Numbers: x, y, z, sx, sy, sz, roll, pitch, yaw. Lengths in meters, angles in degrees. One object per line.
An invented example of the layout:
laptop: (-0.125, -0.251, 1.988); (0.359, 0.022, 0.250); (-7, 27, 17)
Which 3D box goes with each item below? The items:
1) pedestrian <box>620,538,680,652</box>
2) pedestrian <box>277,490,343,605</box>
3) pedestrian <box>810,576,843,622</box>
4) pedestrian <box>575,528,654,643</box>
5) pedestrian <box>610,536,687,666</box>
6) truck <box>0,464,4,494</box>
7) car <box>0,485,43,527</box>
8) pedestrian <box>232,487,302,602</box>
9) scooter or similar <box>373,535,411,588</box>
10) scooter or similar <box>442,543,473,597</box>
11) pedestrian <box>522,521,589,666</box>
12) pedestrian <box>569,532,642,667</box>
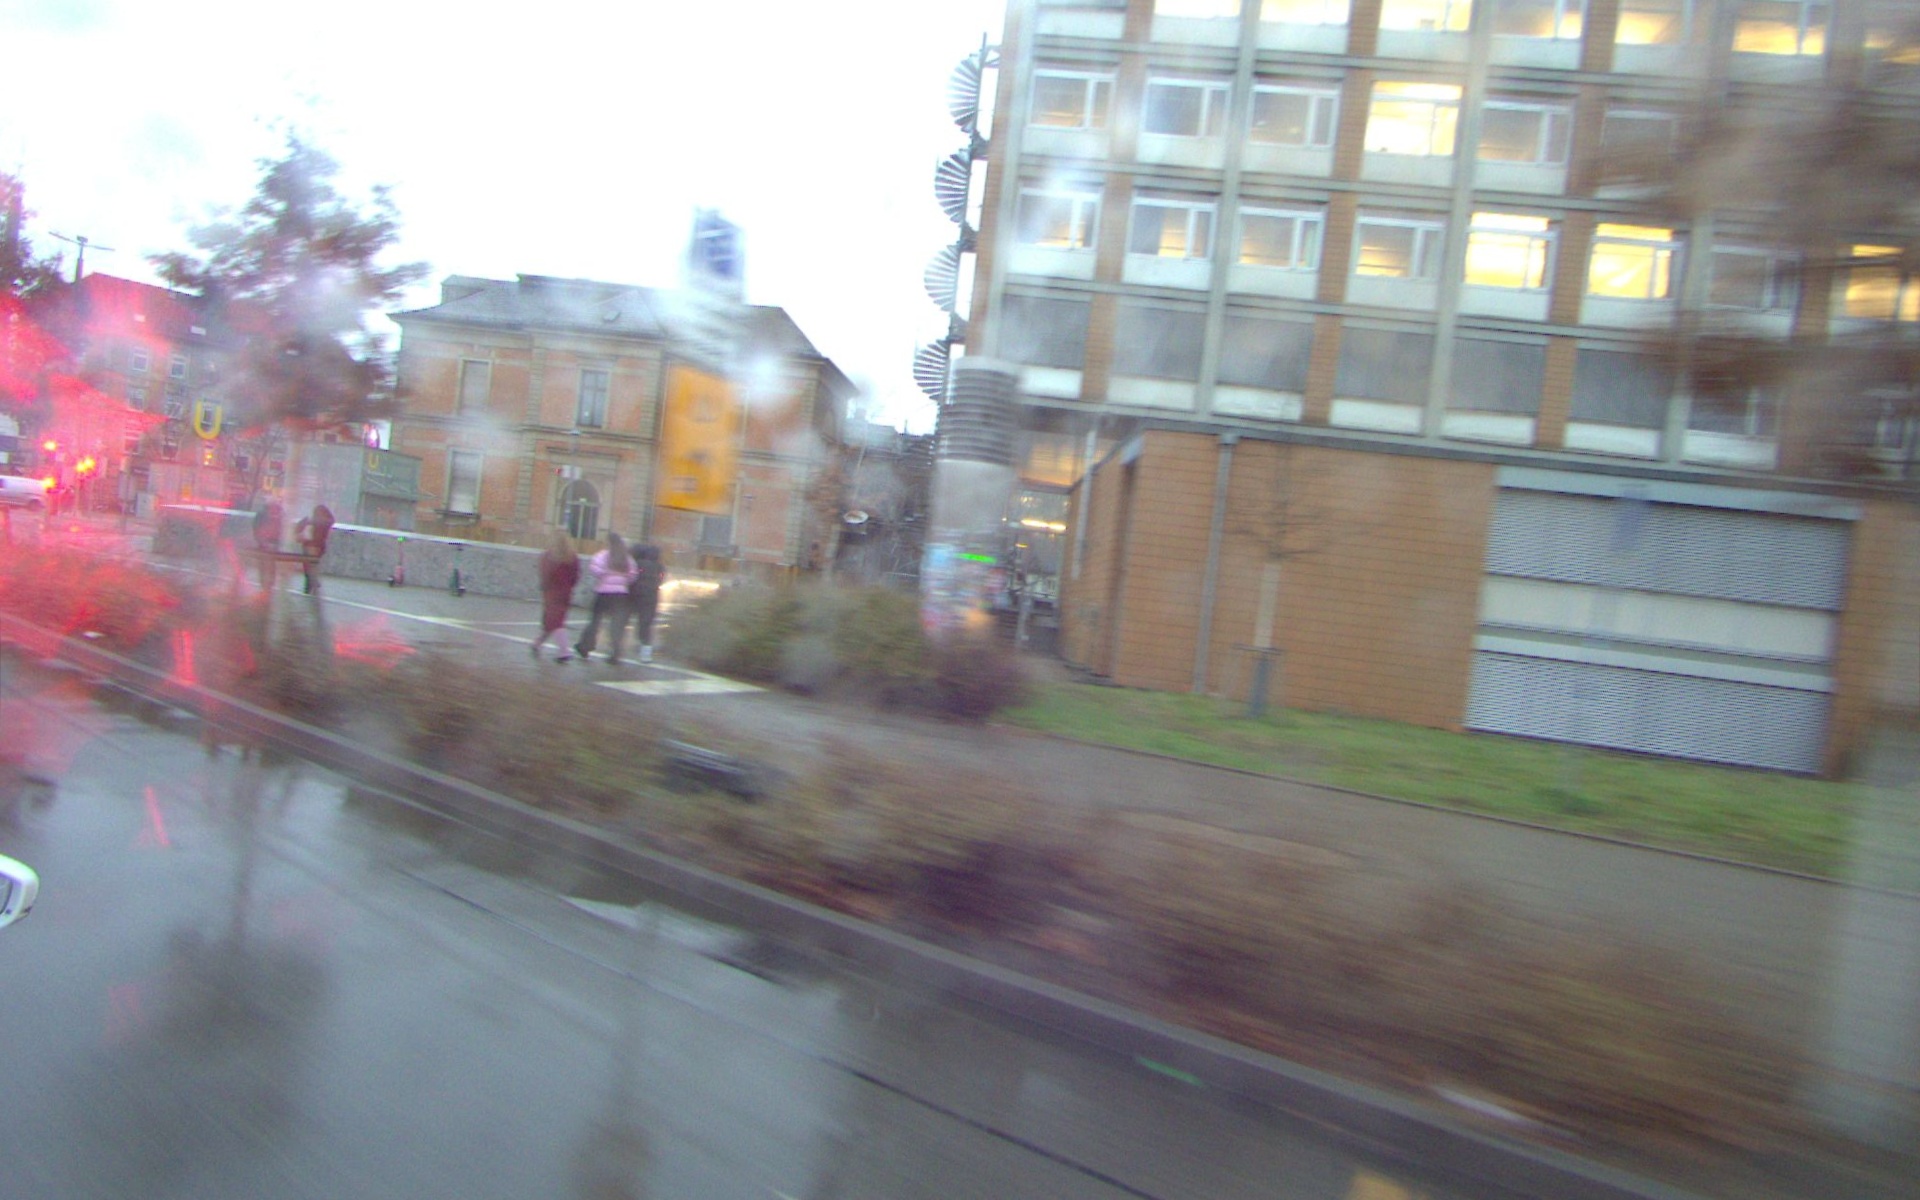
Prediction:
pedestrian: (-5.159, -0.077, 16.750); (0.549, 1.814, 0.584); (7, 1, 16)
pedestrian: (-12.327, -0.995, 19.106); (0.802, 2.039, 0.753); (8, 2, -31)
pedestrian: (-5.293, -0.024, 39.870); (0.787, 1.726, 0.917); (7, 1, 21)
pedestrian: (-5.772, -0.222, 16.854); (0.735, 1.814, 0.854); (7, 1, 16)
pedestrian: (-4.362, 0.010, 14.079); (0.712, 1.709, 0.754); (6, 1, -32)
truck: (-89.857, -11.311, 92.609); (1.983, 2.725, 5.061); (6, 1, -38)
car: (-52.588, -5.264, 54.170); (1.882, 2.039, 4.401); (7, 1, 37)
pedestrian: (-12.720, -1.023, 18.488); (0.802, 1.954, 0.753); (8, 2, -31)
scooter or similar: (-13.991, -0.947, 24.799); (0.507, 1.229, 1.376); (6, 0, -20)
scooter or similar: (-12.068, -0.733, 24.139); (0.508, 1.229, 1.373); (6, 0, -29)
pedestrian: (-5.274, -0.092, 13.093); (0.579, 1.805, 0.763); (4, 2, -31)
pedestrian: (-4.729, -0.006, 13.410); (0.662, 1.709, 0.607); (6, 2, -31)
